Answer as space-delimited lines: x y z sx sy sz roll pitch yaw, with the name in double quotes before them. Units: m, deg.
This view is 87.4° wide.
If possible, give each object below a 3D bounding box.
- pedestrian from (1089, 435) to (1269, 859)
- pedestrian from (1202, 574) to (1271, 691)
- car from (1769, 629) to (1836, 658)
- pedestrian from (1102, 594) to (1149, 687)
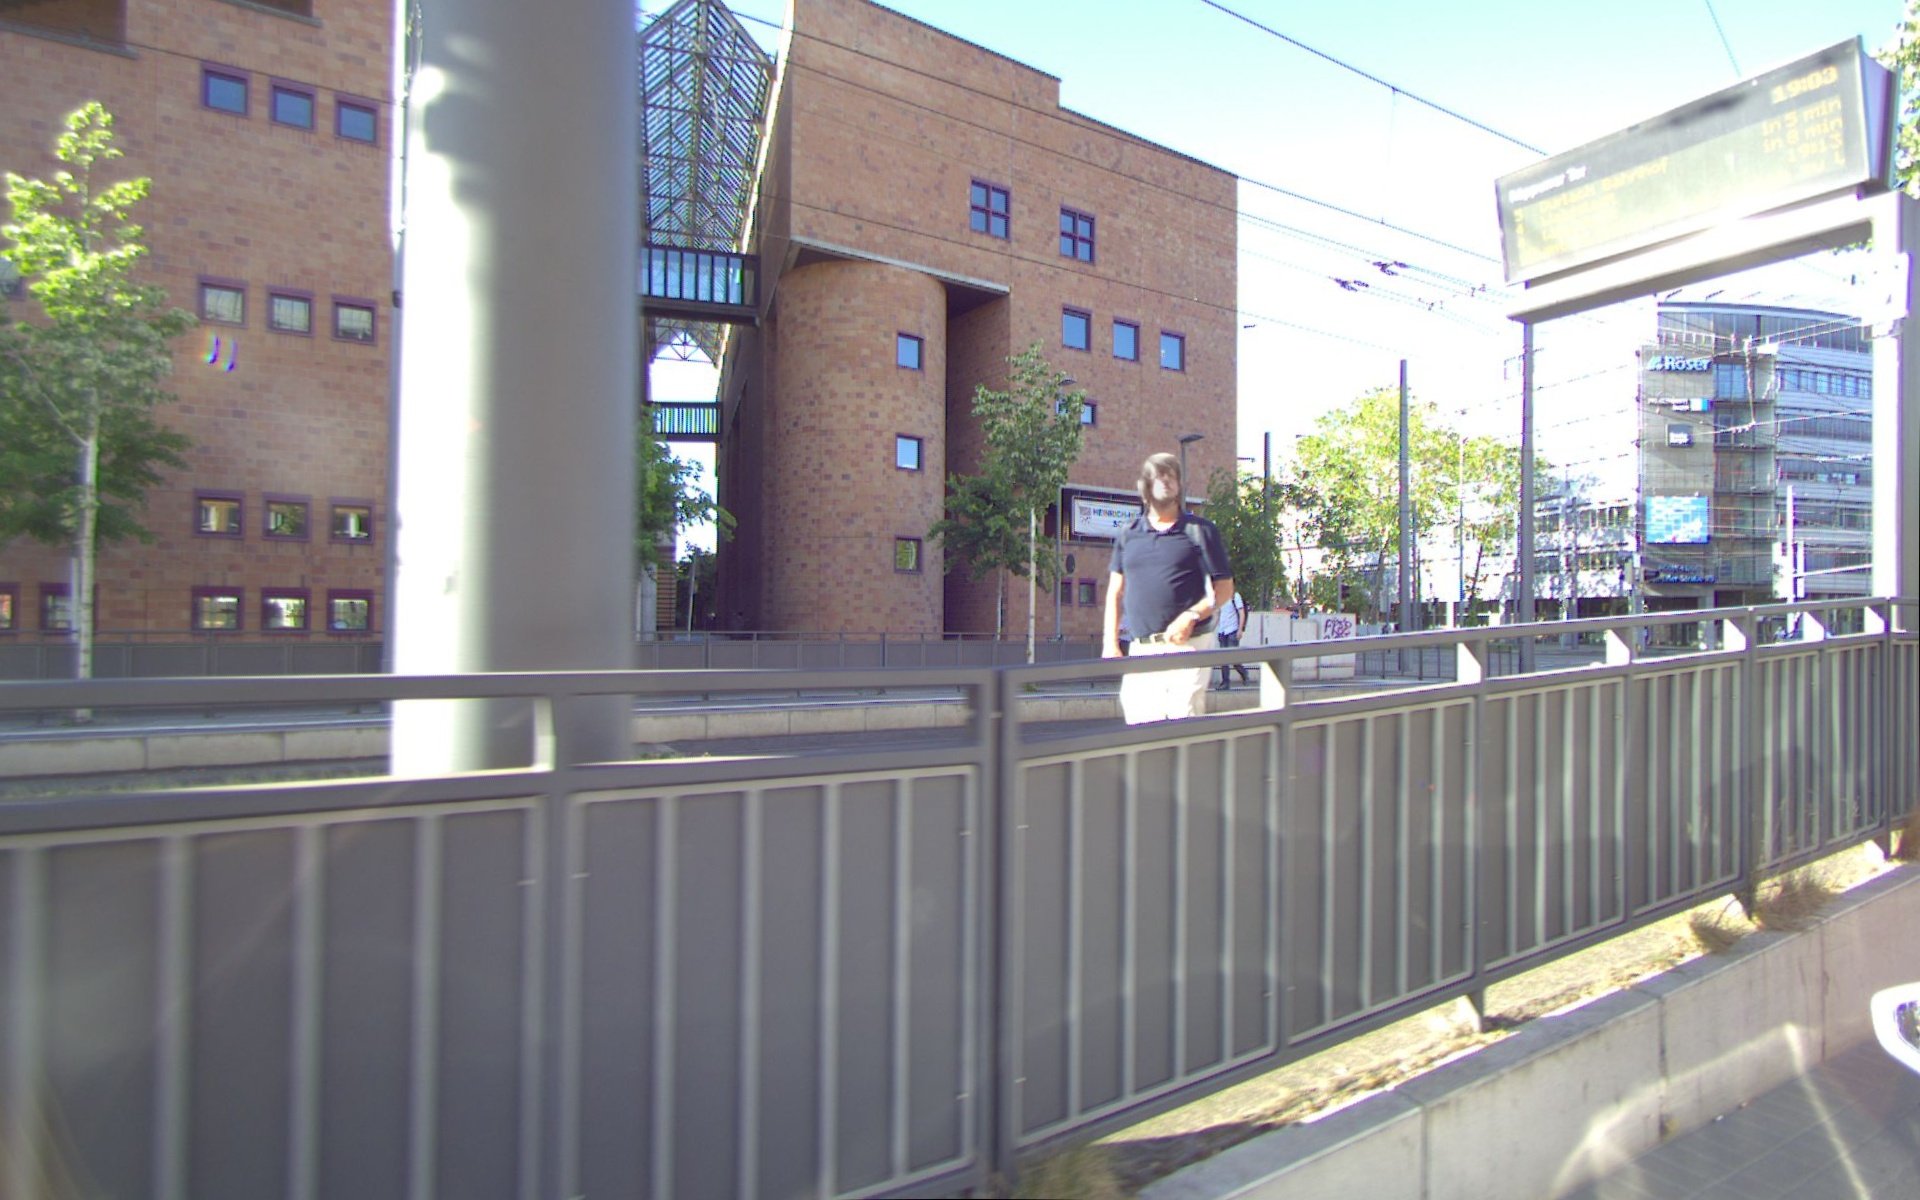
"pedestrian" 0.946 0.193 4.369 0.543 1.691 0.517 1 0 -30
"pedestrian" 4.501 0.525 16.356 0.886 1.841 0.611 1 0 -30
"car" 45.324 2.304 54.014 3.964 1.483 1.979 1 -1 -38
"pedestrian" 2.978 0.716 18.096 0.608 1.630 0.561 1 0 -30
